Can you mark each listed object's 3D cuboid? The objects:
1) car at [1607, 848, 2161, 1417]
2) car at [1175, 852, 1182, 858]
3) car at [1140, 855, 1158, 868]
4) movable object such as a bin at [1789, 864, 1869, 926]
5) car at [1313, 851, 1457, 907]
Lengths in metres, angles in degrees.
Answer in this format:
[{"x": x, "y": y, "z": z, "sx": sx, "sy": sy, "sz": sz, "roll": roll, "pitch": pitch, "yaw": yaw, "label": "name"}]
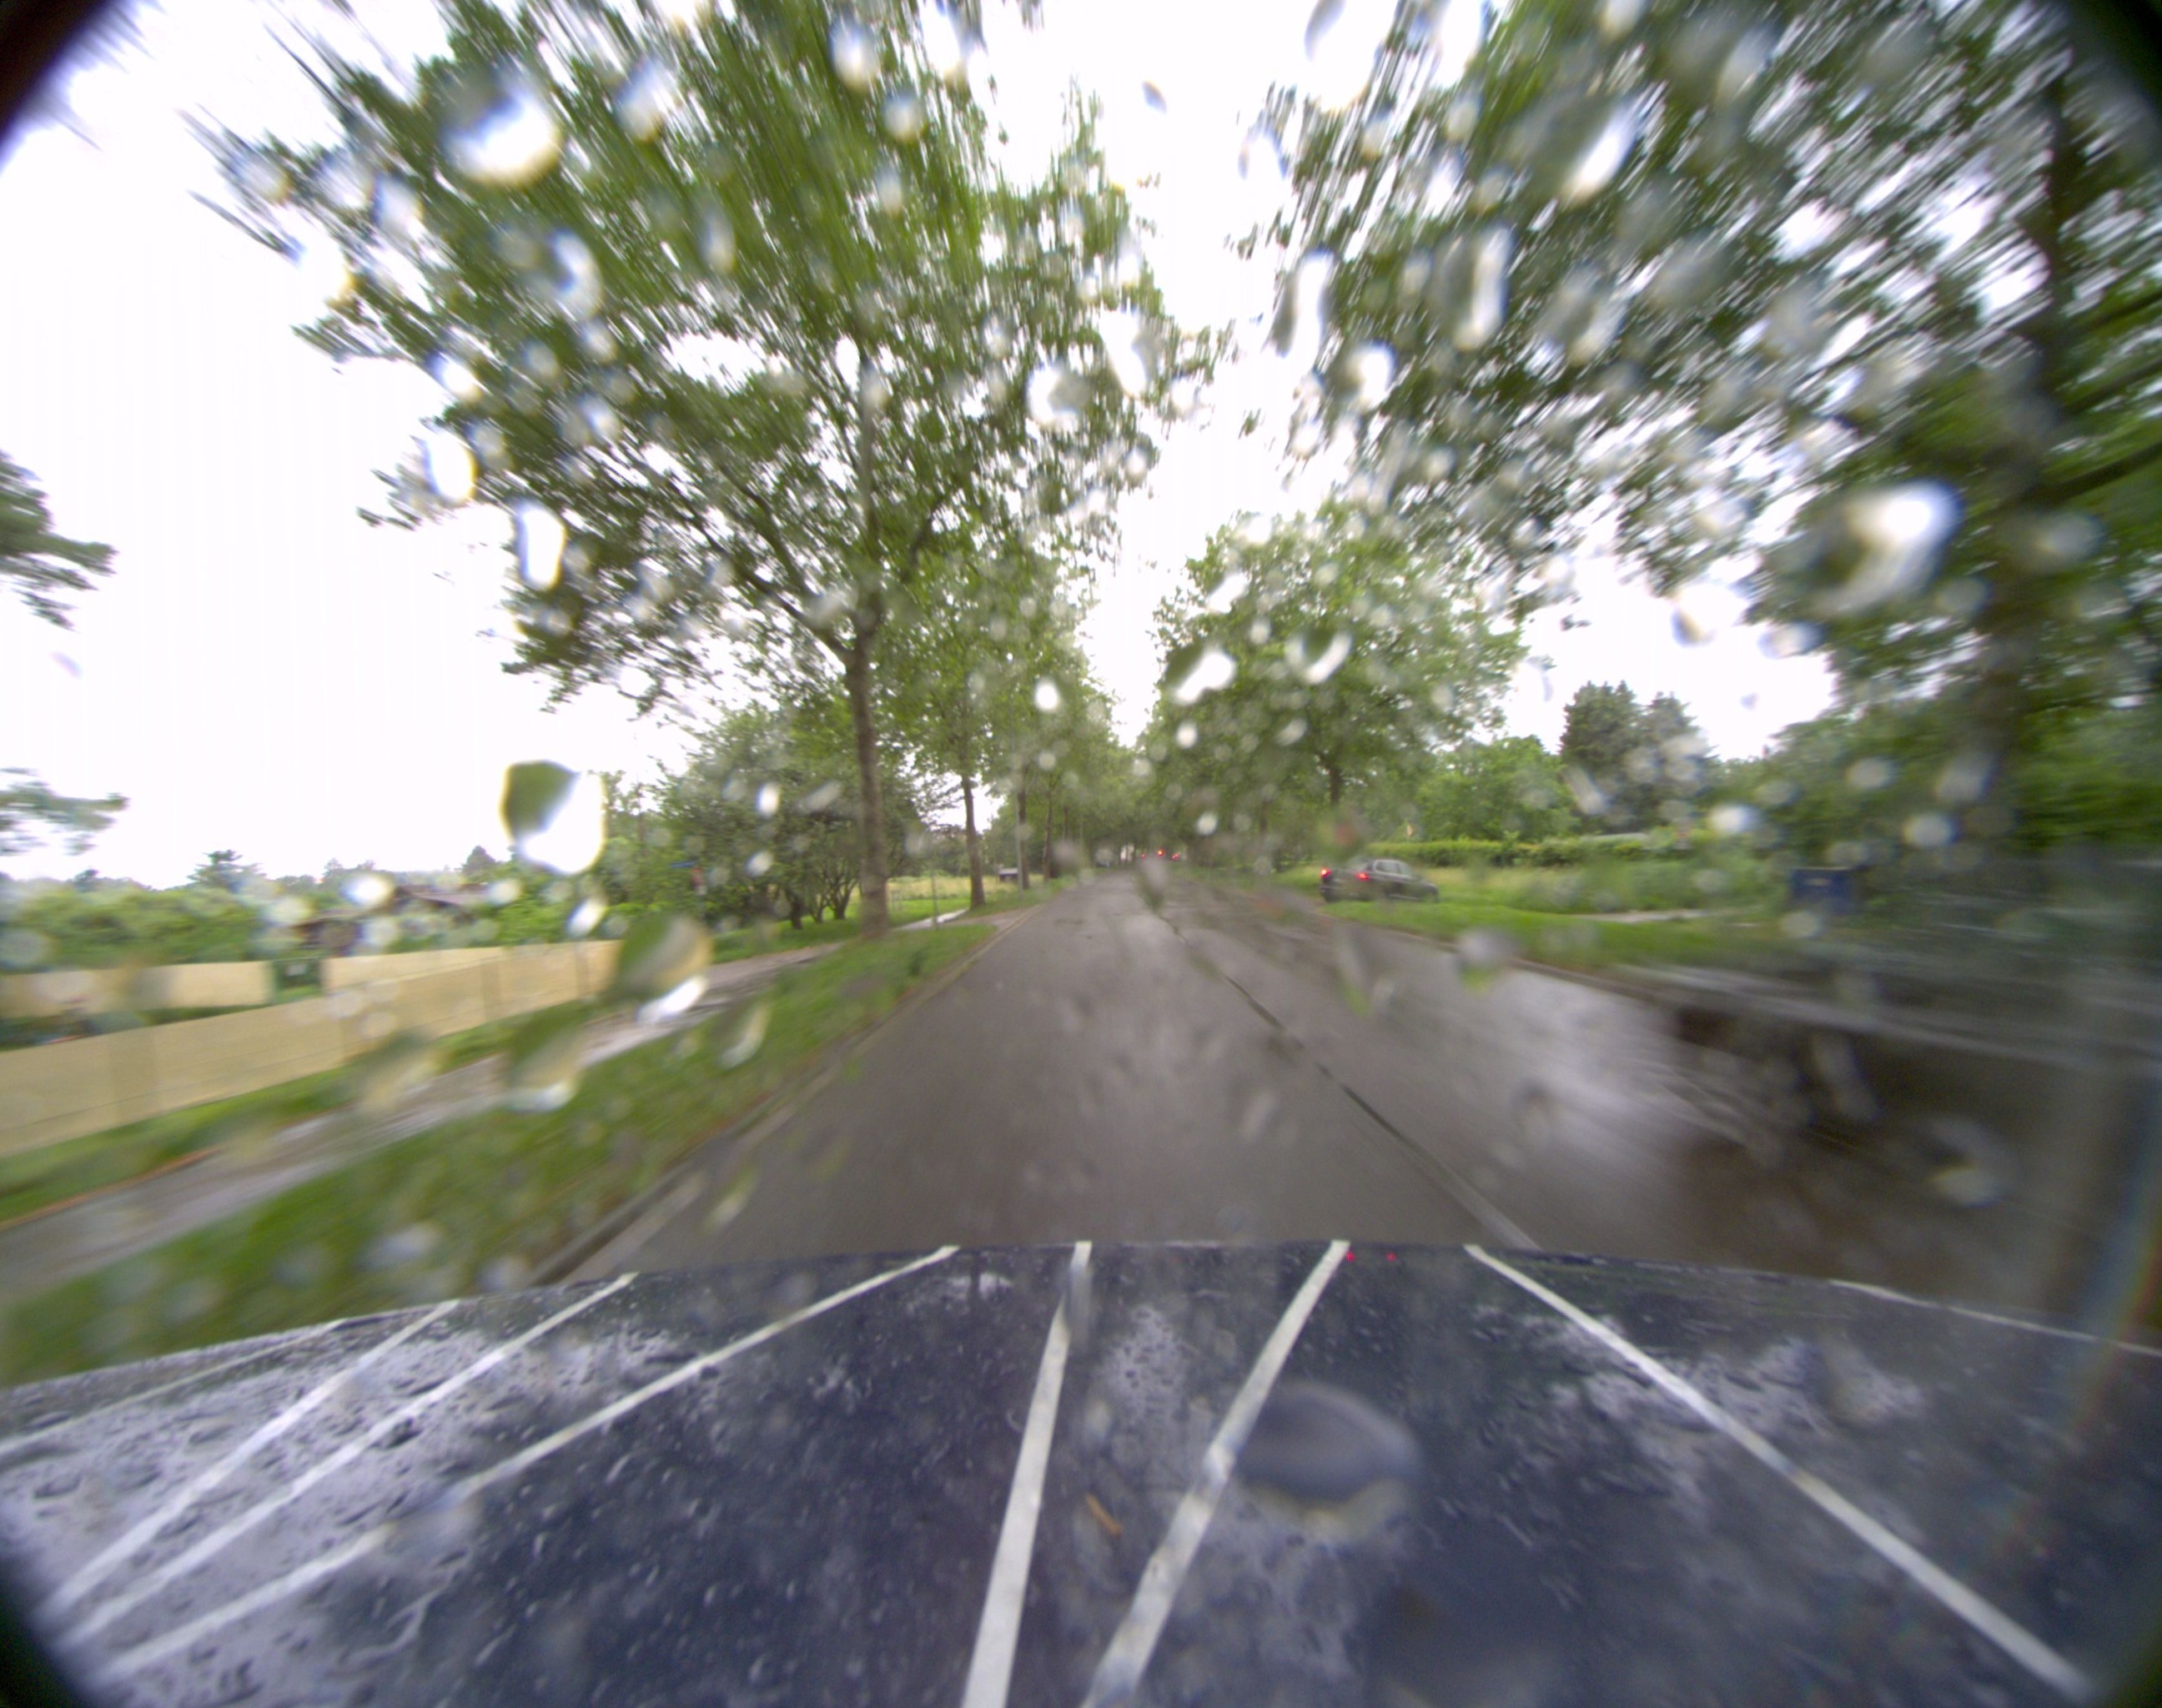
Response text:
[{"x": 3.780, "y": 0.760, "z": 2.243, "sx": 1.711, "sy": 1.477, "sz": 3.881, "roll": -3, "pitch": 0, "yaw": 0, "label": "car"}, {"x": 28.914, "y": 0.413, "z": 224.739, "sx": 1.866, "sy": 1.739, "sz": 5.017, "roll": -1, "pitch": 0, "yaw": 6, "label": "car"}, {"x": 7.590, "y": 0.856, "z": 84.986, "sx": 1.735, "sy": 1.415, "sz": 4.225, "roll": -1, "pitch": 0, "yaw": 2, "label": "car"}, {"x": 18.346, "y": 0.990, "z": 18.662, "sx": 0.965, "sy": 1.414, "sz": 0.966, "roll": -3, "pitch": 0, "yaw": 0, "label": "movable object such as a bin"}, {"x": 9.550, "y": 0.833, "z": 23.805, "sx": 4.317, "sy": 1.578, "sz": 1.734, "roll": 3, "pitch": -3, "yaw": -26, "label": "car"}]
